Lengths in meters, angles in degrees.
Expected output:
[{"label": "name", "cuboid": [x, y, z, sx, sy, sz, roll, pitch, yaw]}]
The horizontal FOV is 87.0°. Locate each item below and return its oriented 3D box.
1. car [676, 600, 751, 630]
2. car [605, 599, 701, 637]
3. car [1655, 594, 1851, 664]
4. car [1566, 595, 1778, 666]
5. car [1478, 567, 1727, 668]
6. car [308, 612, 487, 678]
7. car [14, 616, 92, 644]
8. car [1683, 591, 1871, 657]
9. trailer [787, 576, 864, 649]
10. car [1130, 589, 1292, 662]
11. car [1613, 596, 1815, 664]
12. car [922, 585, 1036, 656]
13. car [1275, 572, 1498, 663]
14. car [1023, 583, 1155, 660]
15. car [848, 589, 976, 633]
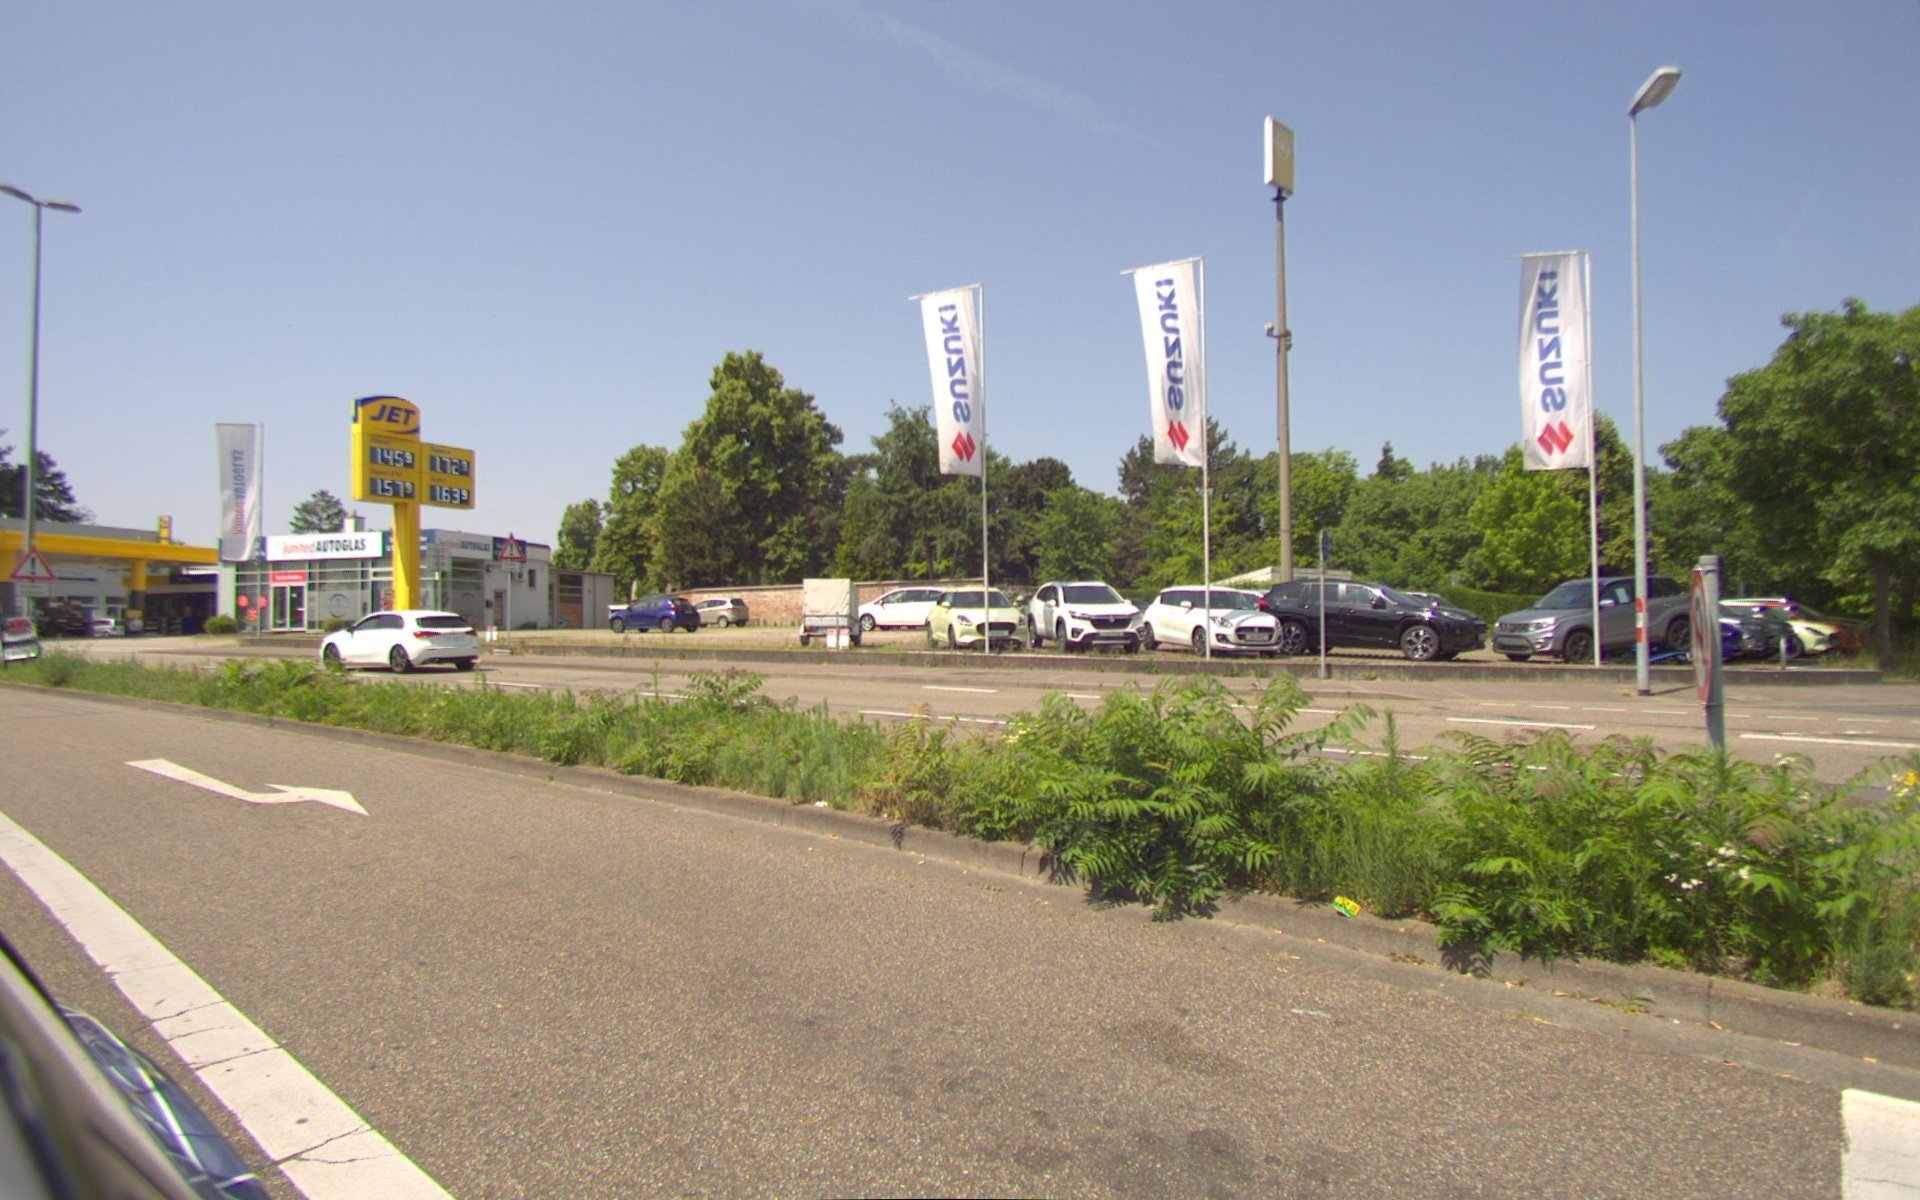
[{"label": "car", "cuboid": [-12.943, 0.787, 53.151, 3.608, 1.517, 1.607, -1, -1, 23]}, {"label": "car", "cuboid": [-12.762, 0.746, 42.036, 3.608, 1.517, 1.681, -1, -1, 23]}, {"label": "car", "cuboid": [21.075, 0.722, 26.990, 3.999, 1.720, 1.881, 0, 0, 42]}, {"label": "car", "cuboid": [17.140, 0.689, 24.462, 3.999, 1.548, 1.771, 0, 0, 42]}, {"label": "car", "cuboid": [13.239, 0.365, 20.952, 4.238, 1.916, 1.834, 1, 0, -12]}, {"label": "car", "cuboid": [-13.353, 1.017, 23.965, 4.253, 1.435, 1.854, 0, -1, 31]}, {"label": "car", "cuboid": [-51.846, 1.700, 57.828, 4.184, 1.554, 1.645, -1, 0, 22]}, {"label": "car", "cuboid": [22.873, 0.634, 28.406, 3.999, 1.696, 1.843, 0, 0, 42]}, {"label": "trailer", "cuboid": [-3.317, 0.294, 25.396, 1.669, 1.717, 2.435, -1, 0, -2]}, {"label": "car", "cuboid": [5.317, 0.501, 22.022, 1.687, 1.443, 3.974, 1, 0, -15]}, {"label": "car", "cuboid": [19.107, 0.731, 25.739, 3.998, 1.582, 1.816, 0, -2, 41]}, {"label": "car", "cuboid": [0.352, 0.428, 23.836, 1.728, 1.521, 3.830, -1, 0, -14]}, {"label": "car", "cuboid": [8.979, 0.321, 21.489, 4.012, 1.737, 1.821, 1, 0, 41]}, {"label": "car", "cuboid": [2.803, 0.430, 22.935, 1.888, 1.552, 3.970, -1, 0, -9]}, {"label": "car", "cuboid": [-1.883, 0.443, 39.545, 4.724, 1.662, 1.682, -1, -1, 21]}]
